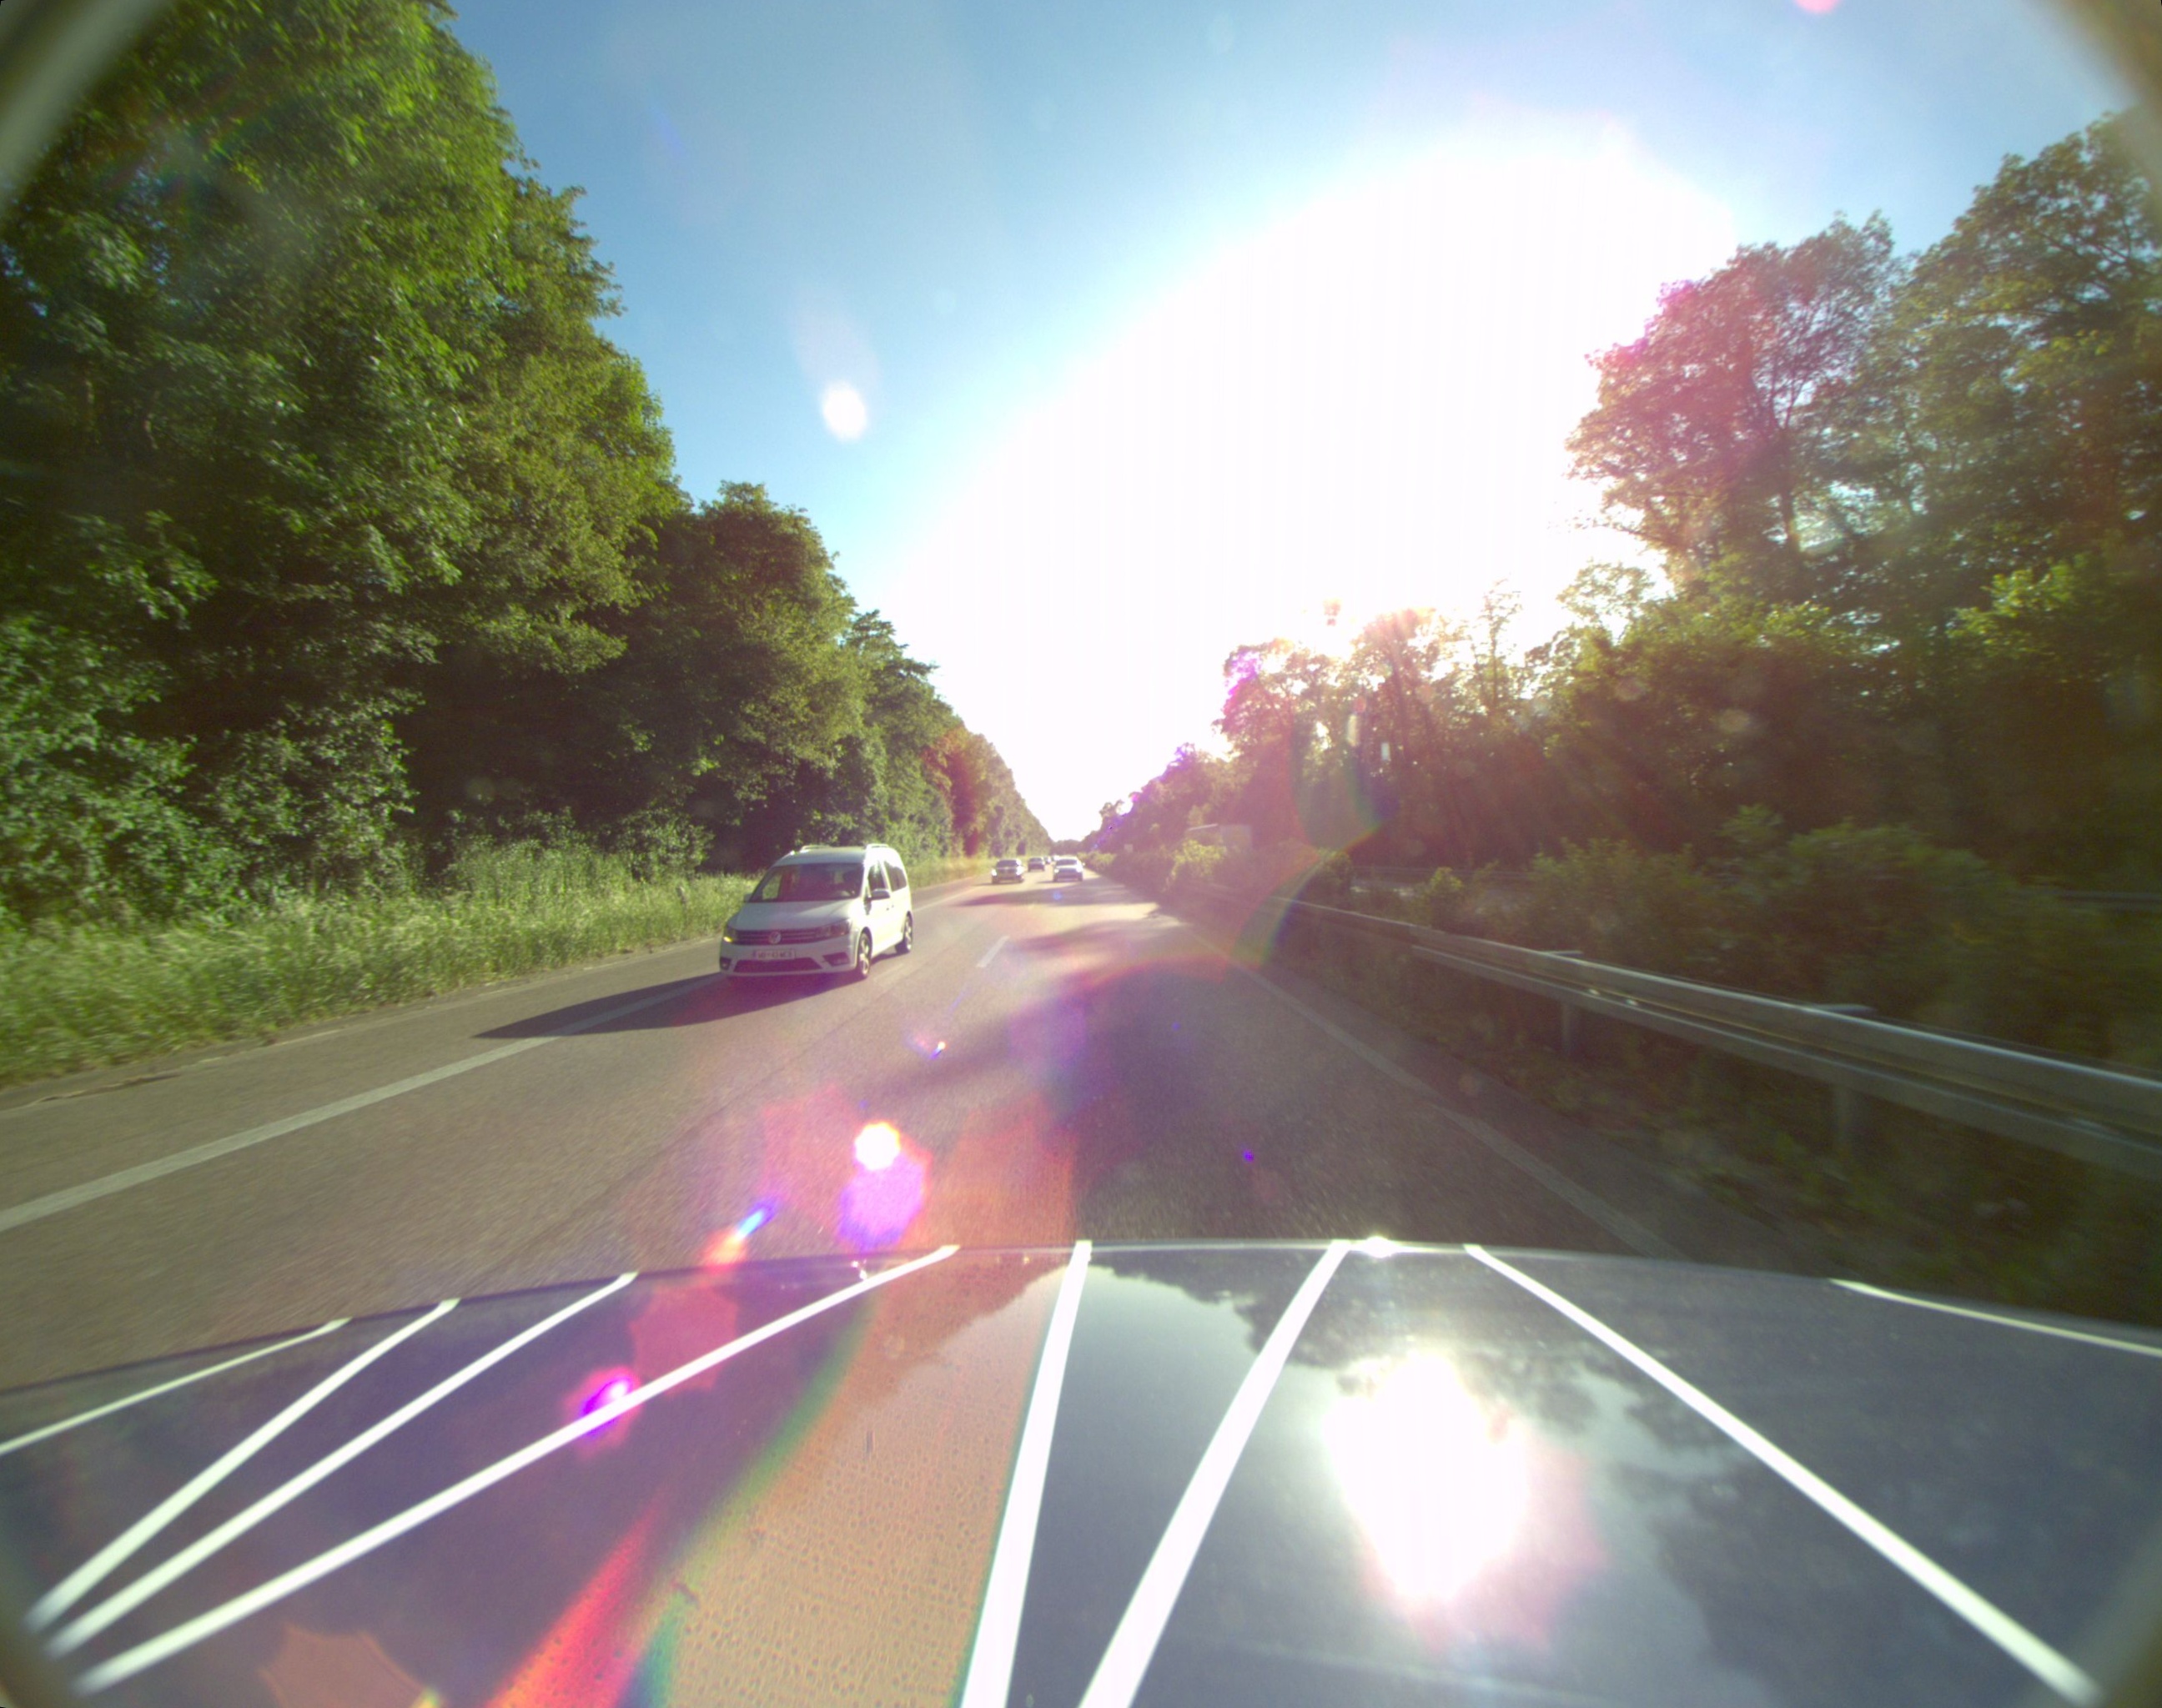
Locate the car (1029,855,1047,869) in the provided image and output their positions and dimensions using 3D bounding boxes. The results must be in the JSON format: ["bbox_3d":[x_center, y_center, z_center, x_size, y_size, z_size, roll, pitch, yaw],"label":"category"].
[{"bbox_3d":[-4.520,0.821,80.394,1.795,1.440,3.877,-2,0,-2],"label":"car"}]

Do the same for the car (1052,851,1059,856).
[{"bbox_3d":[-7.258,-0.156,213.856,1.795,1.440,3.877,-2,0,-2],"label":"car"}]

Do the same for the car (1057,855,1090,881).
[{"bbox_3d":[-0.477,0.837,47.182,1.890,1.440,3.877,-2,0,-1],"label":"car"}]

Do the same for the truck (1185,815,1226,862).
[{"bbox_3d":[11.404,-1.377,70.255,2.723,4.073,5.435,-2,1,-1],"label":"truck"}]

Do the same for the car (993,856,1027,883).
[{"bbox_3d":[-4.289,0.908,46.331,1.795,1.440,3.877,-2,0,-2],"label":"car"}]

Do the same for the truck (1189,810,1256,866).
[{"bbox_3d":[11.464,-1.280,63.118,2.714,4.073,14.018,-2,1,-1],"label":"truck"}]

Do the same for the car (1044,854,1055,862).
[{"bbox_3d":[-5.690,0.724,136.976,1.795,1.440,3.877,-2,0,-2],"label":"car"}]

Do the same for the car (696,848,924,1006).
[{"bbox_3d":[-3.711,0.849,11.387,1.804,1.802,4.586,-2,1,-2],"label":"car"}]
